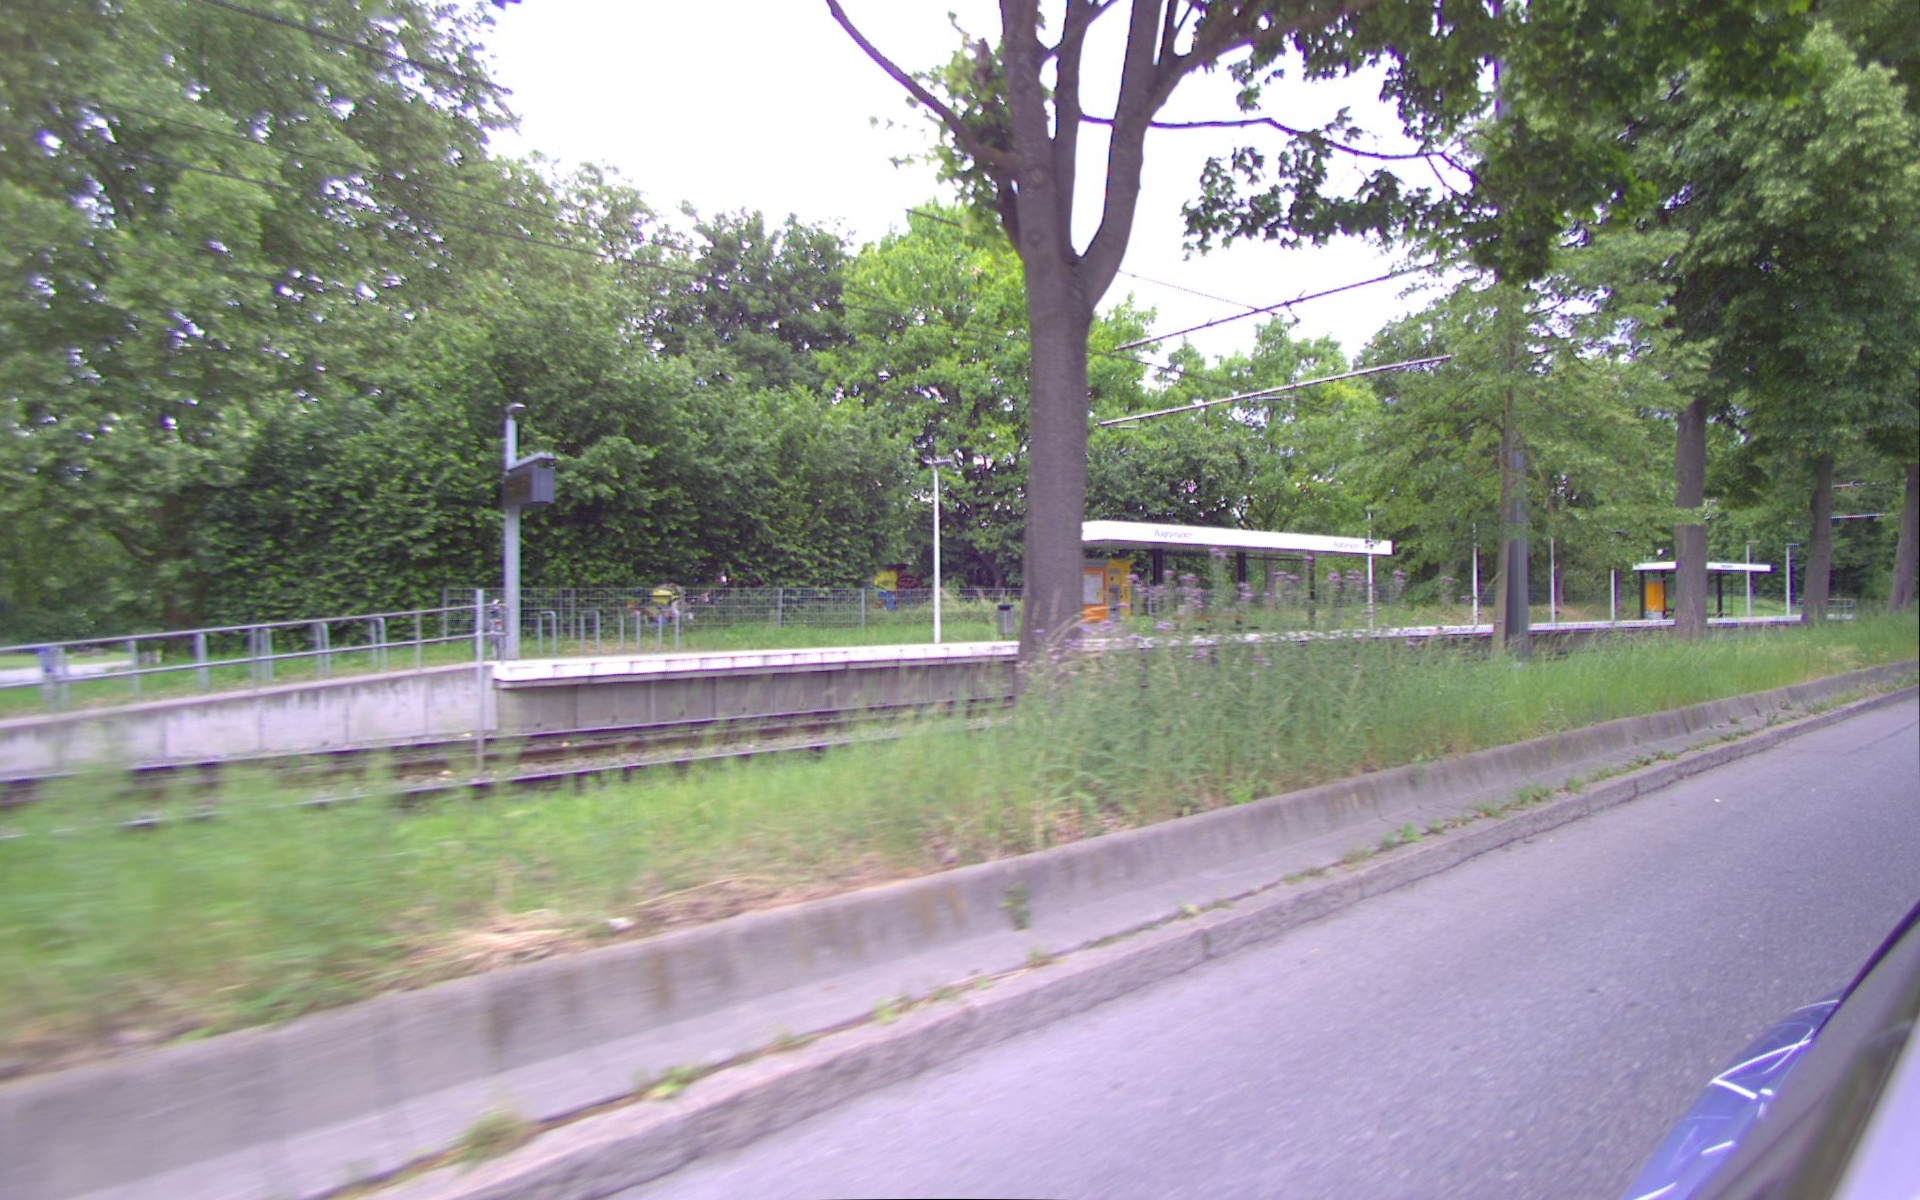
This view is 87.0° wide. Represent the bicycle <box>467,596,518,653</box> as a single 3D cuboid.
[{"bbox_3d":[-8.418,0.446,18.195,0.442,0.986,1.510,0,-2,-41],"label":"bicycle"}]
